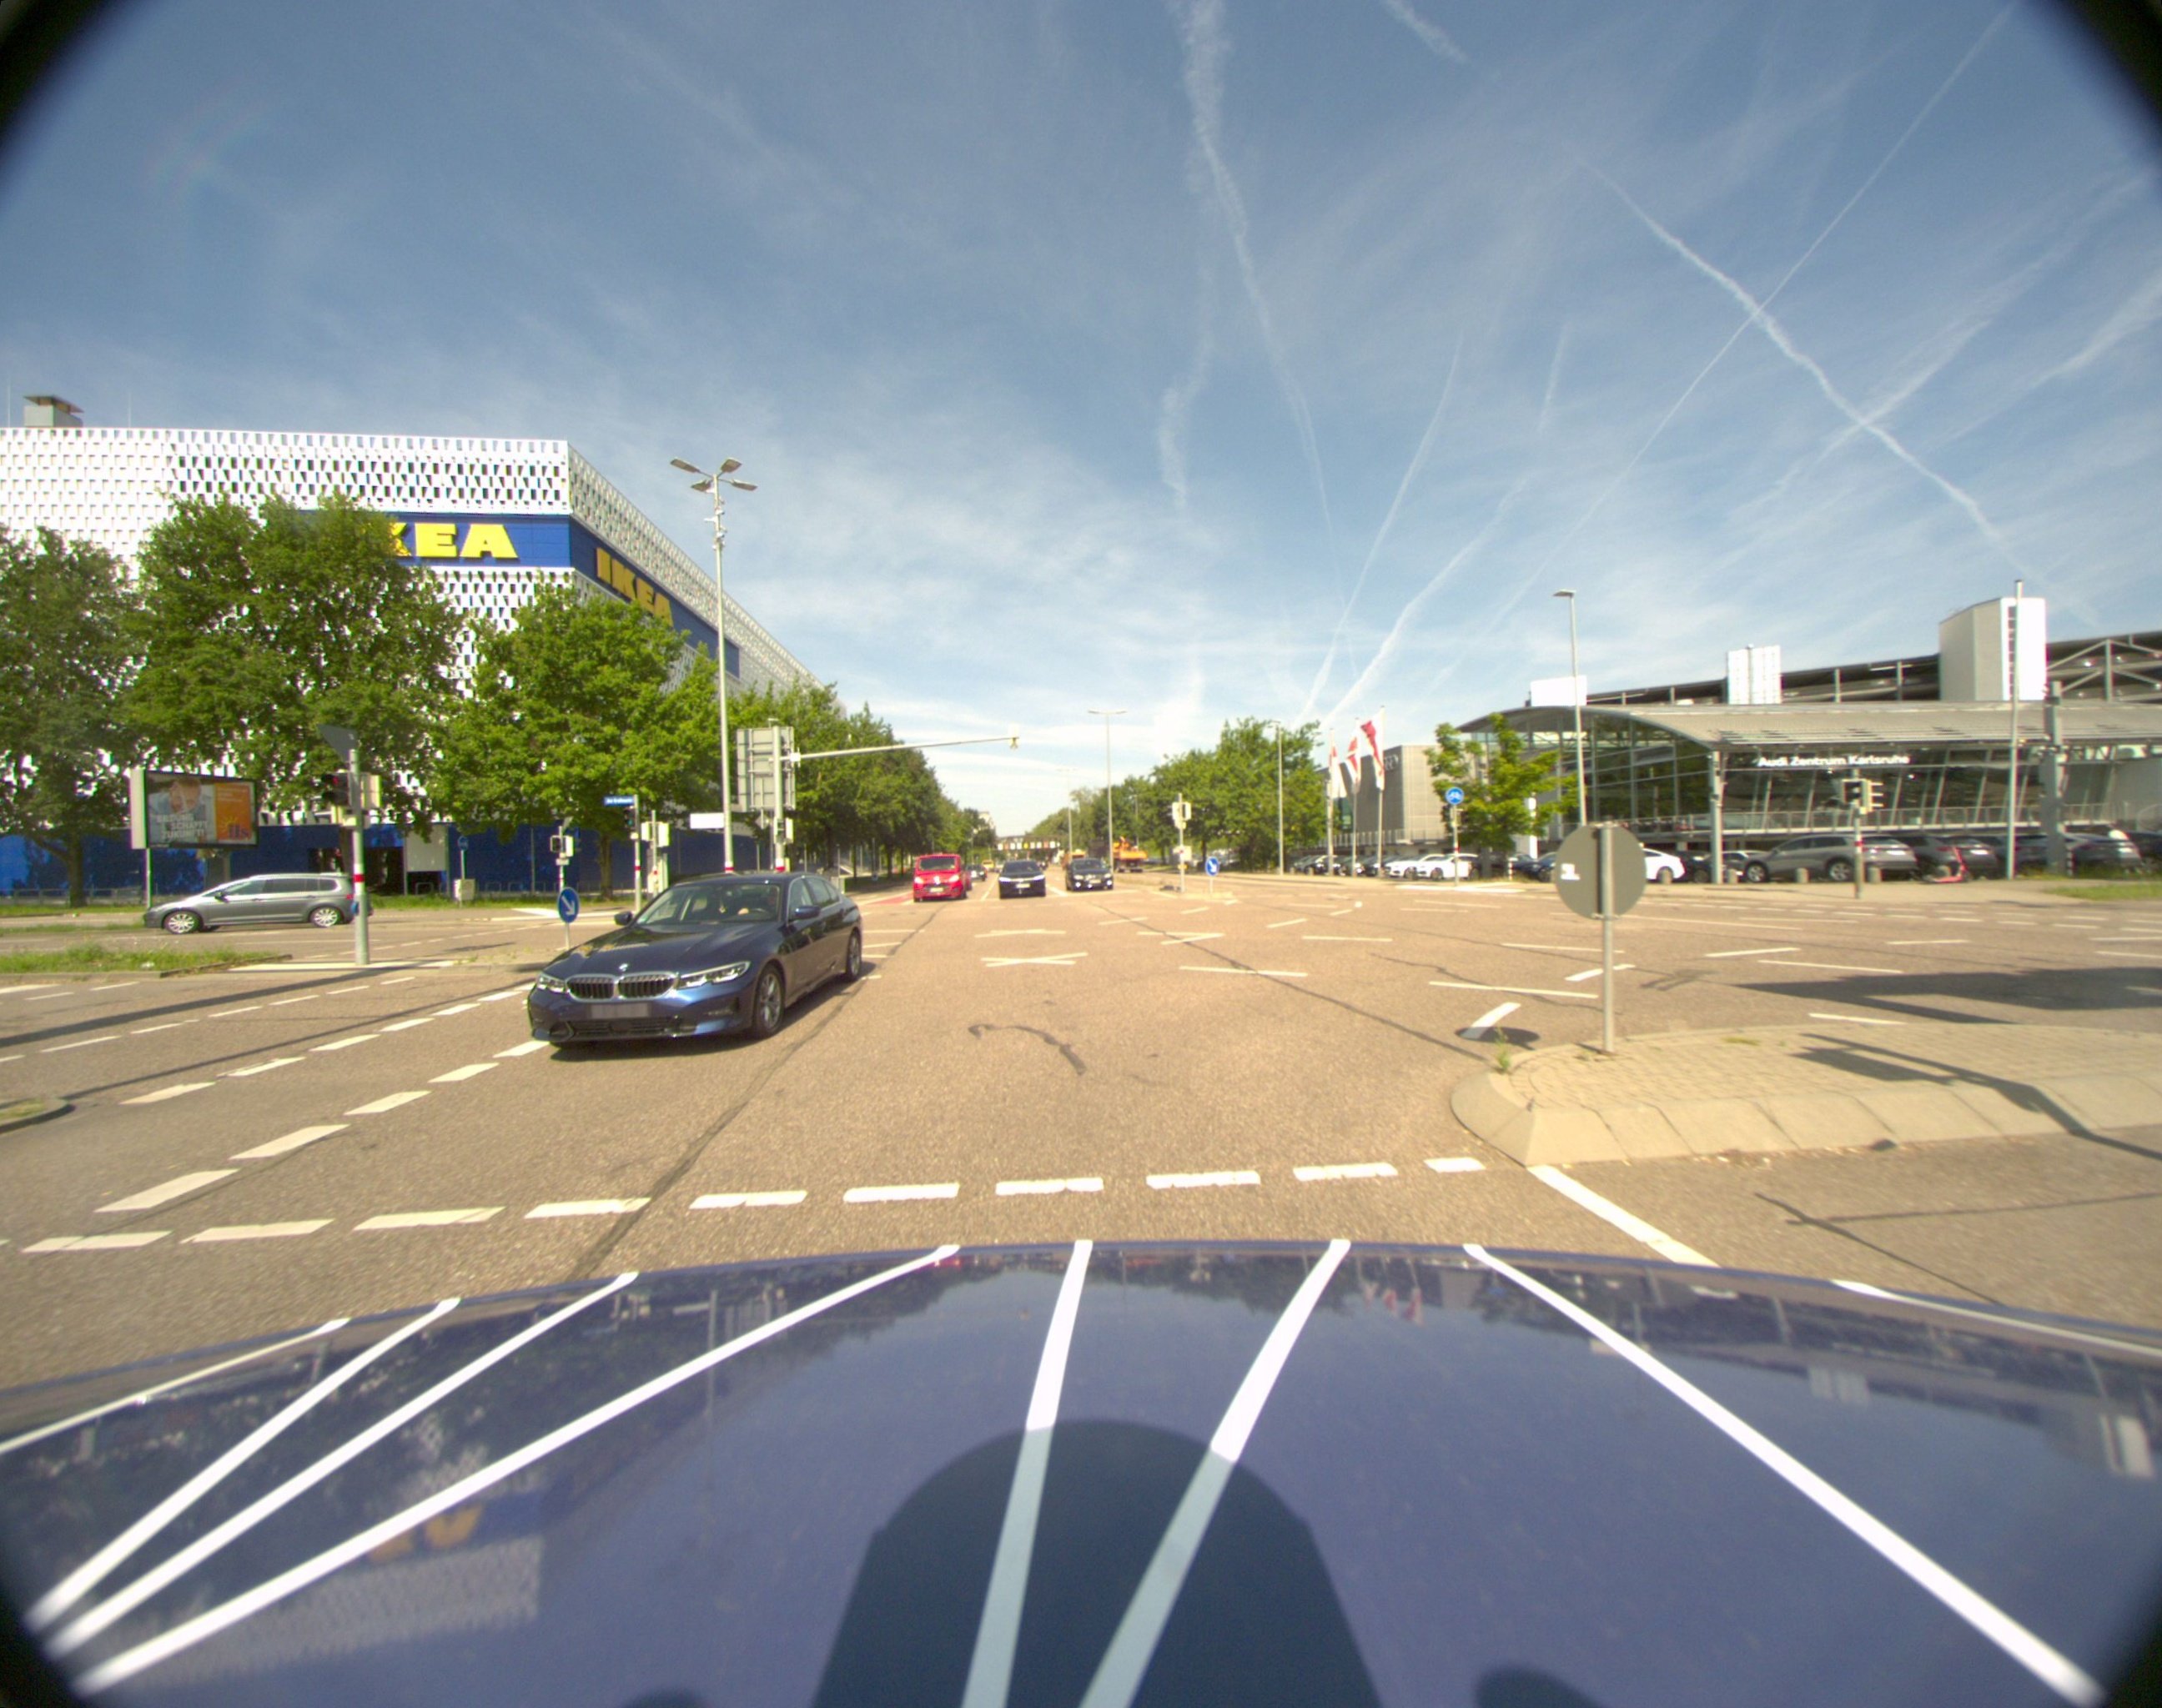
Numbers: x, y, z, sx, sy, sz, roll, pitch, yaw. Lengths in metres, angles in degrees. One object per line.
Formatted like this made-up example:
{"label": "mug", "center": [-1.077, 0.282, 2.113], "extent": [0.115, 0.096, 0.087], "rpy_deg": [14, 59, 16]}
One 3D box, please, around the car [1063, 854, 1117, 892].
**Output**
{"label": "car", "center": [0.337, 0.828, 34.952], "extent": [1.883, 1.513, 4.866], "rpy_deg": [-4, 0, -5]}

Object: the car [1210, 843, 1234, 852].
{"label": "car", "center": [26.750, -1.237, 144.542], "extent": [4.198, 1.490, 1.689], "rpy_deg": [1, 0, -4]}

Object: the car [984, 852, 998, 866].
{"label": "car", "center": [-14.231, 0.724, 120.620], "extent": [1.999, 2.002, 3.997], "rpy_deg": [-4, 1, -6]}

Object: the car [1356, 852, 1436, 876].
{"label": "car", "center": [18.618, 0.567, 45.000], "extent": [3.999, 1.311, 1.837], "rpy_deg": [1, 0, -4]}

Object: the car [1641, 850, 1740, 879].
{"label": "car", "center": [29.344, 0.465, 36.716], "extent": [1.610, 1.299, 3.680], "rpy_deg": [-1, 0, -6]}

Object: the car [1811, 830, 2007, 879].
{"label": "car", "center": [27.760, 0.079, 25.708], "extent": [1.793, 1.433, 4.200], "rpy_deg": [-1, -2, -6]}

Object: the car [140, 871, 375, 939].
{"label": "car", "center": [-24.101, 1.409, 22.548], "extent": [4.399, 1.646, 1.995], "rpy_deg": [-2, 1, -37]}

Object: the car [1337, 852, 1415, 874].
{"label": "car", "center": [18.524, 0.563, 47.860], "extent": [4.188, 1.327, 1.853], "rpy_deg": [1, 0, -6]}

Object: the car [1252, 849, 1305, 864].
{"label": "car", "center": [17.562, 0.228, 67.566], "extent": [4.198, 1.219, 1.796], "rpy_deg": [1, 0, -4]}

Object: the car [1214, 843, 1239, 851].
{"label": "car", "center": [27.232, -1.253, 142.035], "extent": [4.198, 1.490, 1.689], "rpy_deg": [1, 0, -4]}

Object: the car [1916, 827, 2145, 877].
{"label": "car", "center": [33.062, -0.012, 26.721], "extent": [1.793, 1.496, 4.776], "rpy_deg": [-1, -2, -6]}

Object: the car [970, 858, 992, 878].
{"label": "car", "center": [-8.644, 1.214, 65.902], "extent": [1.650, 1.531, 3.997], "rpy_deg": [-5, 0, -7]}

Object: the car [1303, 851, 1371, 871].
{"label": "car", "center": [18.004, 0.466, 53.513], "extent": [4.123, 1.346, 1.834], "rpy_deg": [1, 0, -7]}

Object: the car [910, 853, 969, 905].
{"label": "car", "center": [-5.879, 0.983, 32.105], "extent": [2.015, 1.896, 4.807], "rpy_deg": [-4, 0, -7]}

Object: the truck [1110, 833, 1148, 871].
{"label": "truck", "center": [4.826, -0.183, 77.761], "extent": [2.754, 3.659, 7.576], "rpy_deg": [-2, 0, -4]}

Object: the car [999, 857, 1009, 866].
{"label": "car", "center": [-17.719, 1.732, 174.827], "extent": [1.999, 2.002, 3.997], "rpy_deg": [-4, 1, -6]}

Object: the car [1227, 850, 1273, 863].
{"label": "car", "center": [16.818, 0.264, 75.693], "extent": [4.198, 1.239, 1.689], "rpy_deg": [1, 0, -4]}

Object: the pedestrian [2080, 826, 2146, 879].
{"label": "pedestrian", "center": [34.786, -0.056, 25.625], "extent": [0.917, 1.739, 1.003], "rpy_deg": [-1, 1, -4]}

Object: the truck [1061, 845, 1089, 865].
{"label": "truck", "center": [-0.878, 0.142, 108.919], "extent": [2.384, 2.609, 6.665], "rpy_deg": [-3, 0, -14]}

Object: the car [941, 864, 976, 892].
{"label": "car", "center": [-7.132, 1.351, 44.524], "extent": [1.693, 1.414, 3.914], "rpy_deg": [-3, 0, -6]}

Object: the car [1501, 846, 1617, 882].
{"label": "car", "center": [19.995, 0.409, 31.879], "extent": [3.846, 1.394, 1.763], "rpy_deg": [-1, 0, -7]}

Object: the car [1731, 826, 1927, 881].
{"label": "car", "center": [25.061, 0.059, 25.752], "extent": [1.819, 1.603, 4.595], "rpy_deg": [-1, -2, -5]}

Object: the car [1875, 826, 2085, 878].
{"label": "car", "center": [30.563, -0.007, 26.076], "extent": [1.793, 1.534, 4.375], "rpy_deg": [-1, -2, -6]}

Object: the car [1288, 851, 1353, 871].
{"label": "car", "center": [17.683, 0.480, 56.201], "extent": [4.228, 1.387, 1.801], "rpy_deg": [1, 0, -6]}

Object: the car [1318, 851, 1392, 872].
{"label": "car", "center": [18.316, 0.490, 50.827], "extent": [4.294, 1.346, 1.829], "rpy_deg": [1, 0, -7]}

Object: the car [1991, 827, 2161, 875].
{"label": "car", "center": [35.918, -0.062, 26.805], "extent": [1.783, 1.507, 4.673], "rpy_deg": [-1, -2, -6]}

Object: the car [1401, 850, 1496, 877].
{"label": "car", "center": [19.220, 0.494, 39.836], "extent": [4.084, 1.362, 1.877], "rpy_deg": [1, 0, -6]}

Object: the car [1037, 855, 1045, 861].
{"label": "car", "center": [-9.848, 0.940, 186.226], "extent": [1.733, 1.430, 3.868], "rpy_deg": [0, 0, -5]}

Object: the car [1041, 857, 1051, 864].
{"label": "car", "center": [-7.408, 1.410, 160.216], "extent": [1.852, 1.451, 4.661], "rpy_deg": [0, 0, -7]}

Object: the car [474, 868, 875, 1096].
{"label": "car", "center": [-3.645, 1.003, 7.956], "extent": [1.800, 1.421, 4.536], "rpy_deg": [-3, 2, -2]}

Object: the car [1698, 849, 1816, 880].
{"label": "car", "center": [32.257, 0.471, 36.430], "extent": [1.793, 1.370, 4.062], "rpy_deg": [-1, 0, -6]}

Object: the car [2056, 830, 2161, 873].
{"label": "car", "center": [38.525, -0.117, 26.914], "extent": [1.793, 1.433, 4.631], "rpy_deg": [-1, -2, -6]}

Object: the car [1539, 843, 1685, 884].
{"label": "car", "center": [20.471, 0.338, 29.420], "extent": [4.385, 1.424, 1.899], "rpy_deg": [-1, 0, -3]}

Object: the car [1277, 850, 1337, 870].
{"label": "car", "center": [17.492, 0.462, 58.911], "extent": [4.037, 1.394, 1.808], "rpy_deg": [1, 0, -6]}

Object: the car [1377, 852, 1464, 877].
{"label": "car", "center": [18.915, 0.603, 42.447], "extent": [3.999, 1.311, 1.867], "rpy_deg": [1, 0, -5]}

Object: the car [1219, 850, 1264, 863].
{"label": "car", "center": [16.483, 0.257, 78.169], "extent": [4.198, 1.188, 1.689], "rpy_deg": [1, 0, -4]}

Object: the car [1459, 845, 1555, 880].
{"label": "car", "center": [20.212, 0.386, 36.259], "extent": [1.803, 1.487, 4.423], "rpy_deg": [-2, 0, -5]}

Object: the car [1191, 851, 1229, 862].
{"label": "car", "center": [15.507, 0.270, 91.129], "extent": [4.198, 1.248, 1.689], "rpy_deg": [1, 0, -4]}

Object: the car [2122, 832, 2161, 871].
{"label": "car", "center": [41.252, -0.156, 27.180], "extent": [1.793, 1.433, 4.401], "rpy_deg": [-1, -2, -6]}

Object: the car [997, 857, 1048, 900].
{"label": "car", "center": [-2.393, 0.941, 31.292], "extent": [1.848, 1.531, 3.998], "rpy_deg": [-4, 0, -4]}
